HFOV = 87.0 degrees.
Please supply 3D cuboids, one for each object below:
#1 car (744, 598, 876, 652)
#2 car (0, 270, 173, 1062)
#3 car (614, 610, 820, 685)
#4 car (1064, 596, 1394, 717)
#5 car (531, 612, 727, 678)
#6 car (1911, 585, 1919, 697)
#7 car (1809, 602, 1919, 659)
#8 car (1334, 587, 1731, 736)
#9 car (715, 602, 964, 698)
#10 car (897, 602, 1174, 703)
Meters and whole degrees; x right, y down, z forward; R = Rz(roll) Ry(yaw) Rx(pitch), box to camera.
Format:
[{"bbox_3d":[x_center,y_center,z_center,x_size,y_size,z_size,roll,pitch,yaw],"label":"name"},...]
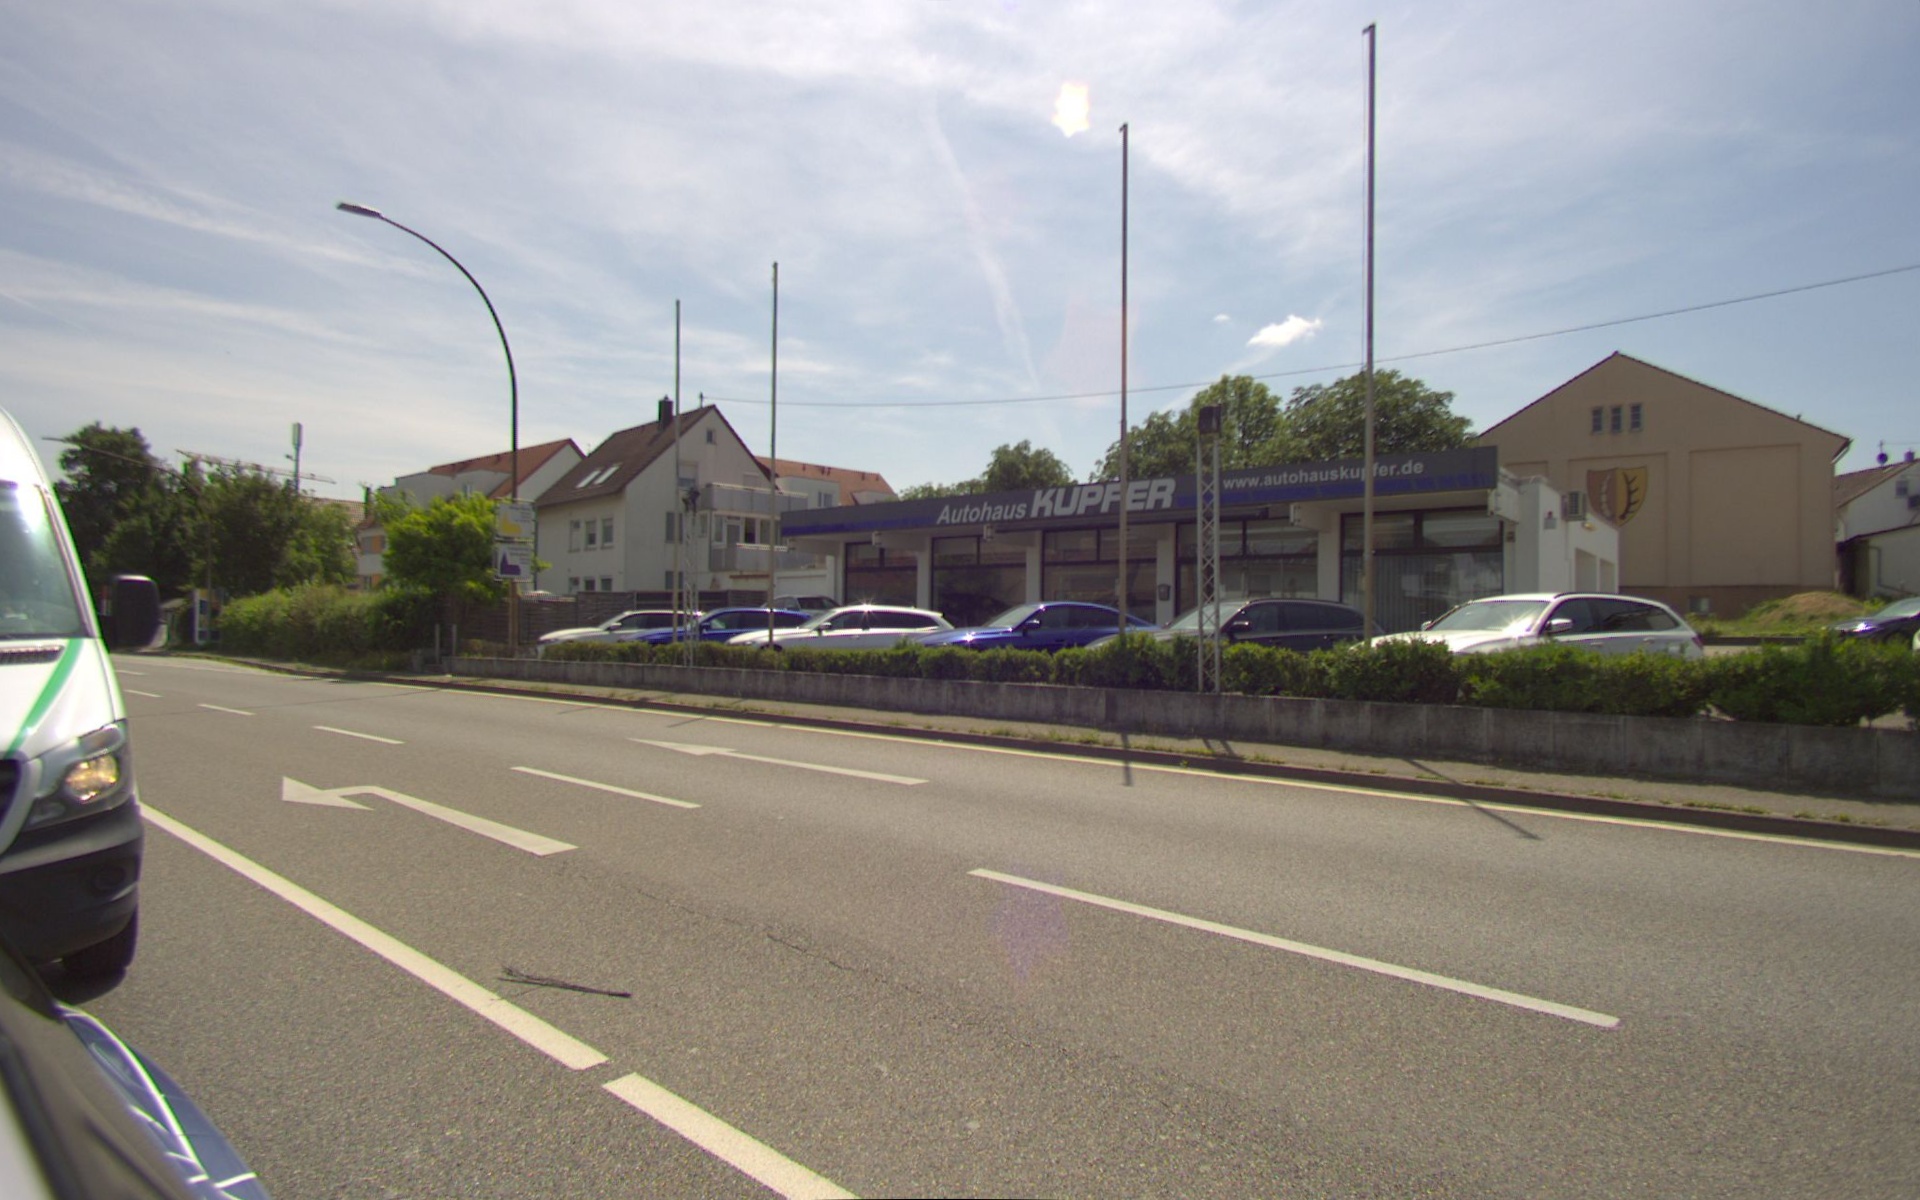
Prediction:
[{"bbox_3d":[-4.585,0.735,30.391,1.781,1.475,4.589,-1,0,-40],"label":"car"},{"bbox_3d":[-5.598,0.257,4.733,5.745,2.548,1.914,-1,-1,40],"label":"car"},{"bbox_3d":[-5.452,1.006,22.619,4.267,1.458,1.863,-1,0,-21],"label":"car"},{"bbox_3d":[3.810,0.698,14.319,4.267,1.458,1.905,-1,0,-24],"label":"car"},{"bbox_3d":[-8.253,1.068,25.334,4.501,1.458,1.863,-1,0,-21],"label":"car"},{"bbox_3d":[15.074,0.514,14.170,3.934,1.521,1.839,-1,-1,-36],"label":"car"},{"bbox_3d":[23.505,0.699,24.706,3.946,1.231,1.791,-2,0,2],"label":"car"},{"bbox_3d":[6.688,0.599,11.807,4.267,1.458,1.863,-1,0,-24],"label":"car"},{"bbox_3d":[-2.349,0.901,19.660,4.438,1.458,1.863,-3,1,-19],"label":"car"},{"bbox_3d":[1.273,0.801,17.073,4.267,1.458,1.863,-1,0,-23],"label":"car"}]
